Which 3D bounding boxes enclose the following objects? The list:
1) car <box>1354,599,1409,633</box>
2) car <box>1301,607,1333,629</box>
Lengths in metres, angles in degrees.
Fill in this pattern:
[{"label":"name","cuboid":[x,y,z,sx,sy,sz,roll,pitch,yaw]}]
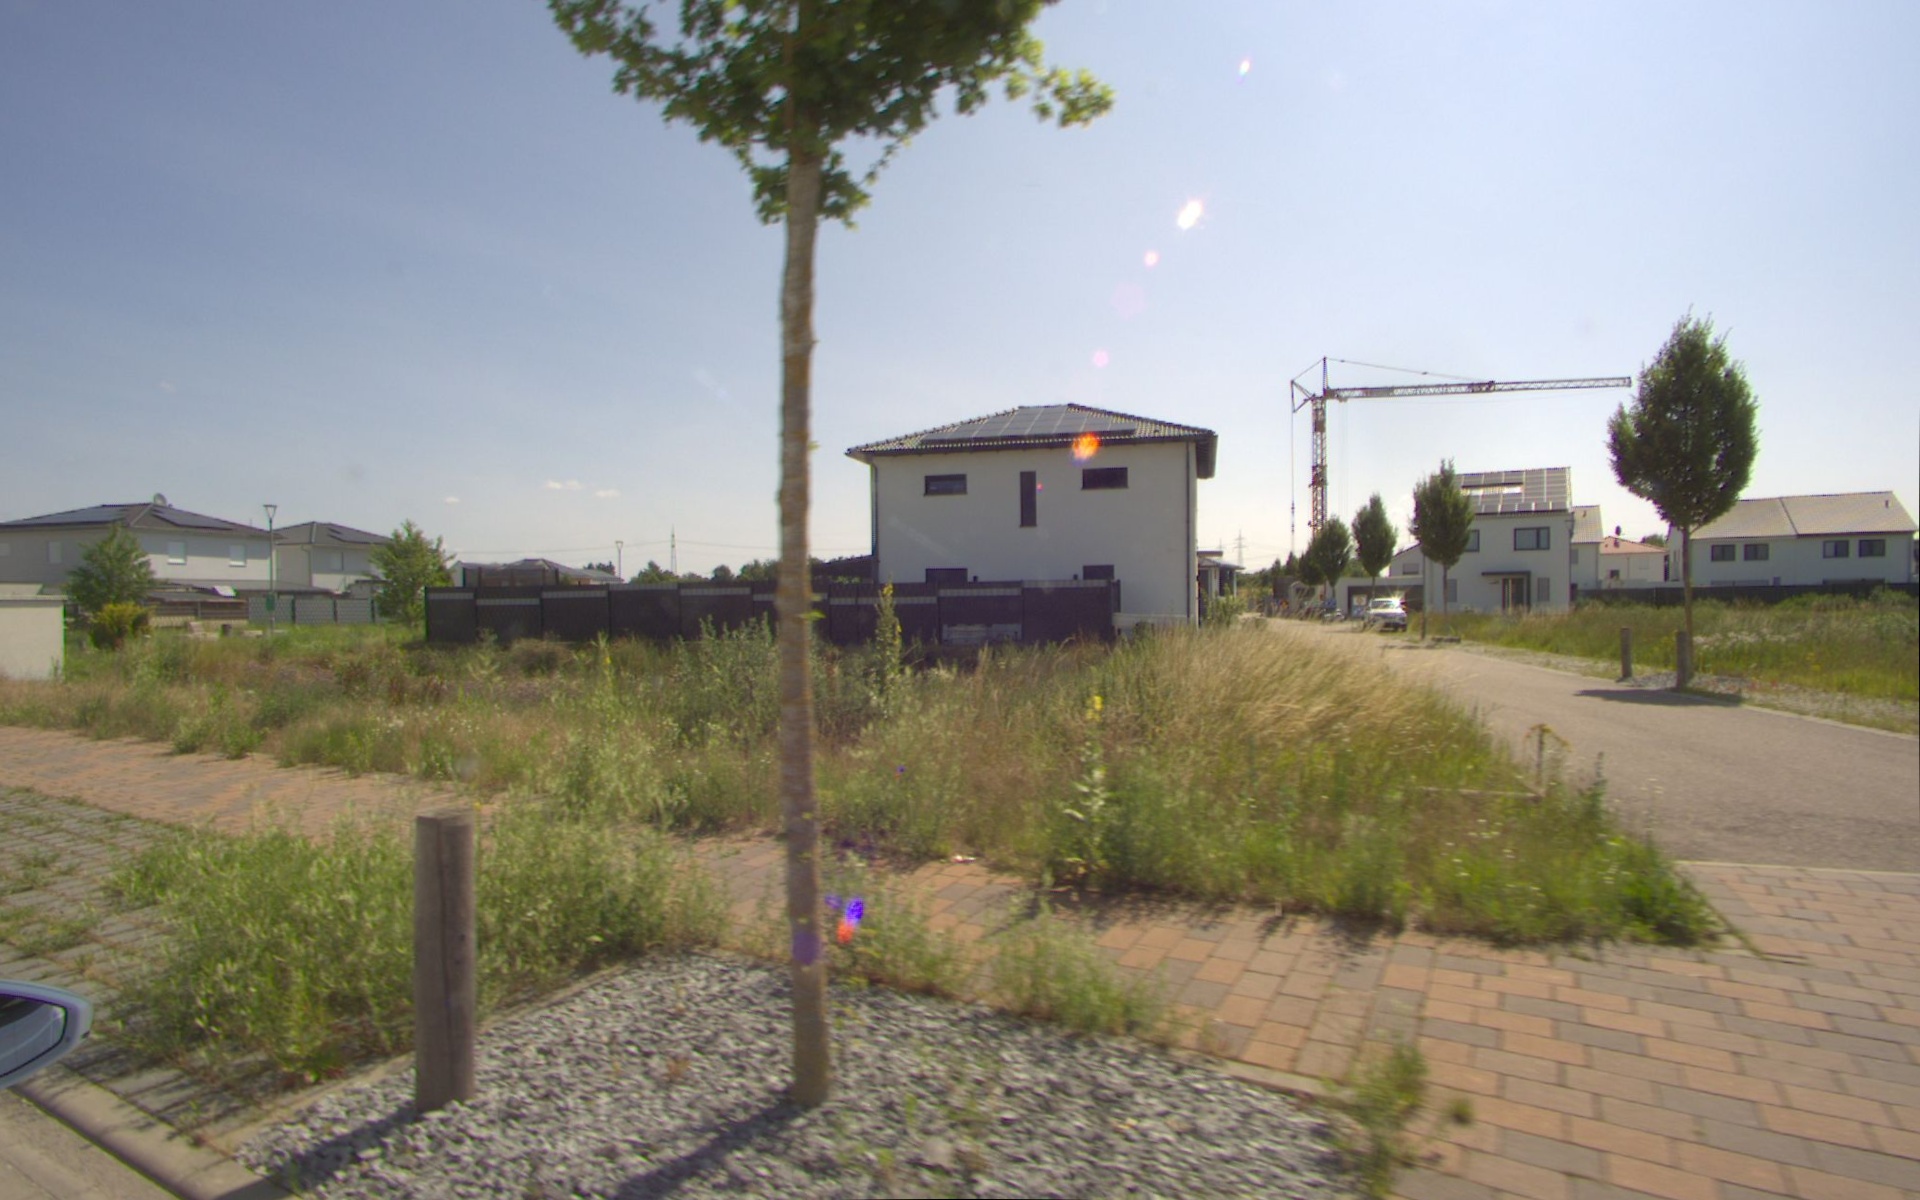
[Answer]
[{"label":"car","cuboid":[19.076,0.705,45.485,1.710,1.461,3.827,0,0,14]},{"label":"car","cuboid":[25.410,1.263,71.378,1.710,1.461,3.827,0,0,14]}]
